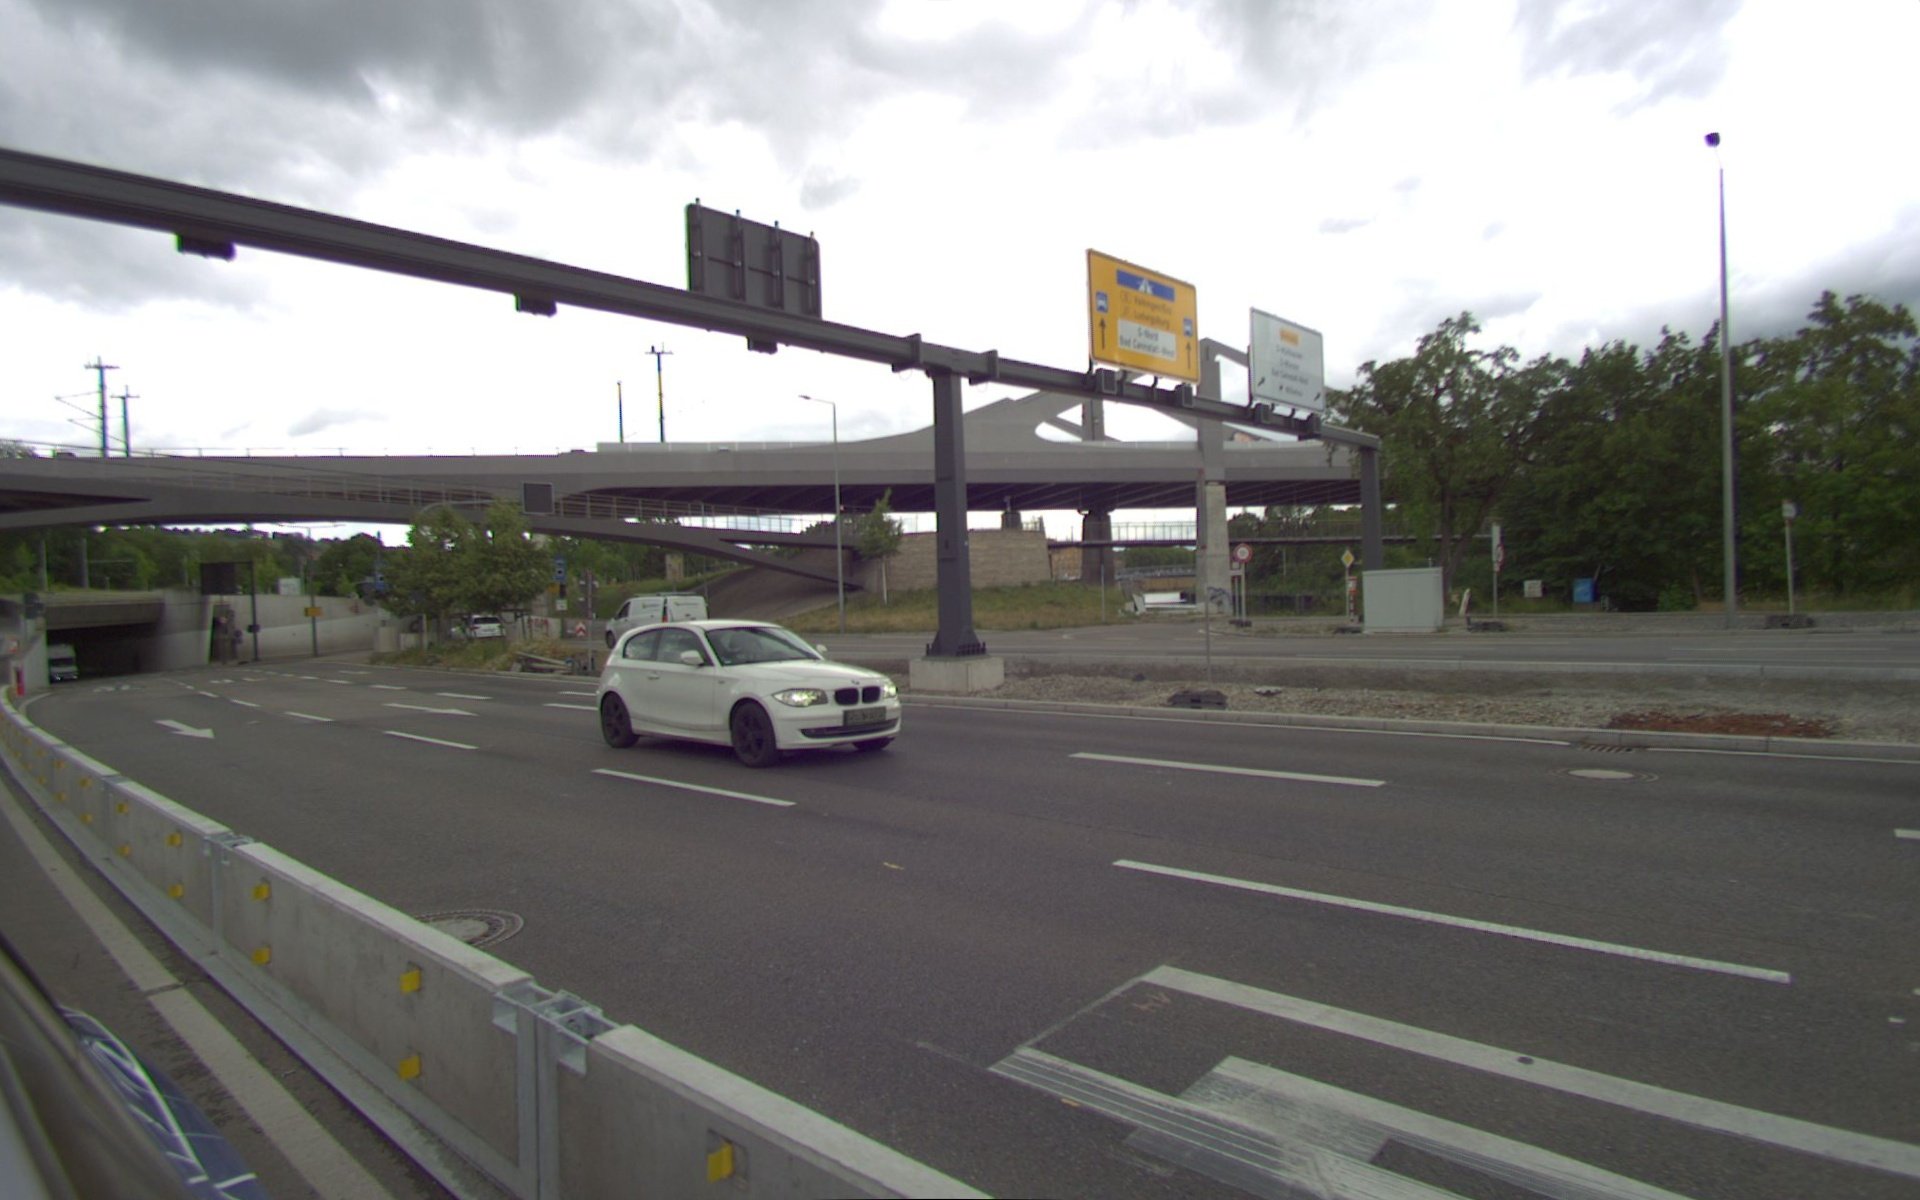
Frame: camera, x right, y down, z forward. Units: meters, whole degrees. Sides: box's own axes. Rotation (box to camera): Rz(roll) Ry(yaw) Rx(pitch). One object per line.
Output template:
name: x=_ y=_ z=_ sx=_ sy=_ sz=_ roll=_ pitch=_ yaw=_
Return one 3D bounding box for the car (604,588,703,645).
car: x=-10.897 y=0.637 z=35.864 sx=1.804 sy=1.821 sz=3.804 roll=6 pitch=-6 yaw=-43

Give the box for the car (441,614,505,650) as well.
car: x=-25.184 y=1.661 z=52.258 sx=1.778 sy=1.674 sz=4.293 roll=-3 pitch=0 yaw=-42

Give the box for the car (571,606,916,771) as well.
car: x=-2.478 y=0.841 z=11.015 sx=3.981 sy=1.444 sz=1.621 roll=-2 pitch=0 yaw=42

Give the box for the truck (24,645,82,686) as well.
truck: x=-79.062 y=5.627 z=88.170 sx=8.117 sy=3.149 sz=2.713 roll=-2 pitch=2 yaw=42
